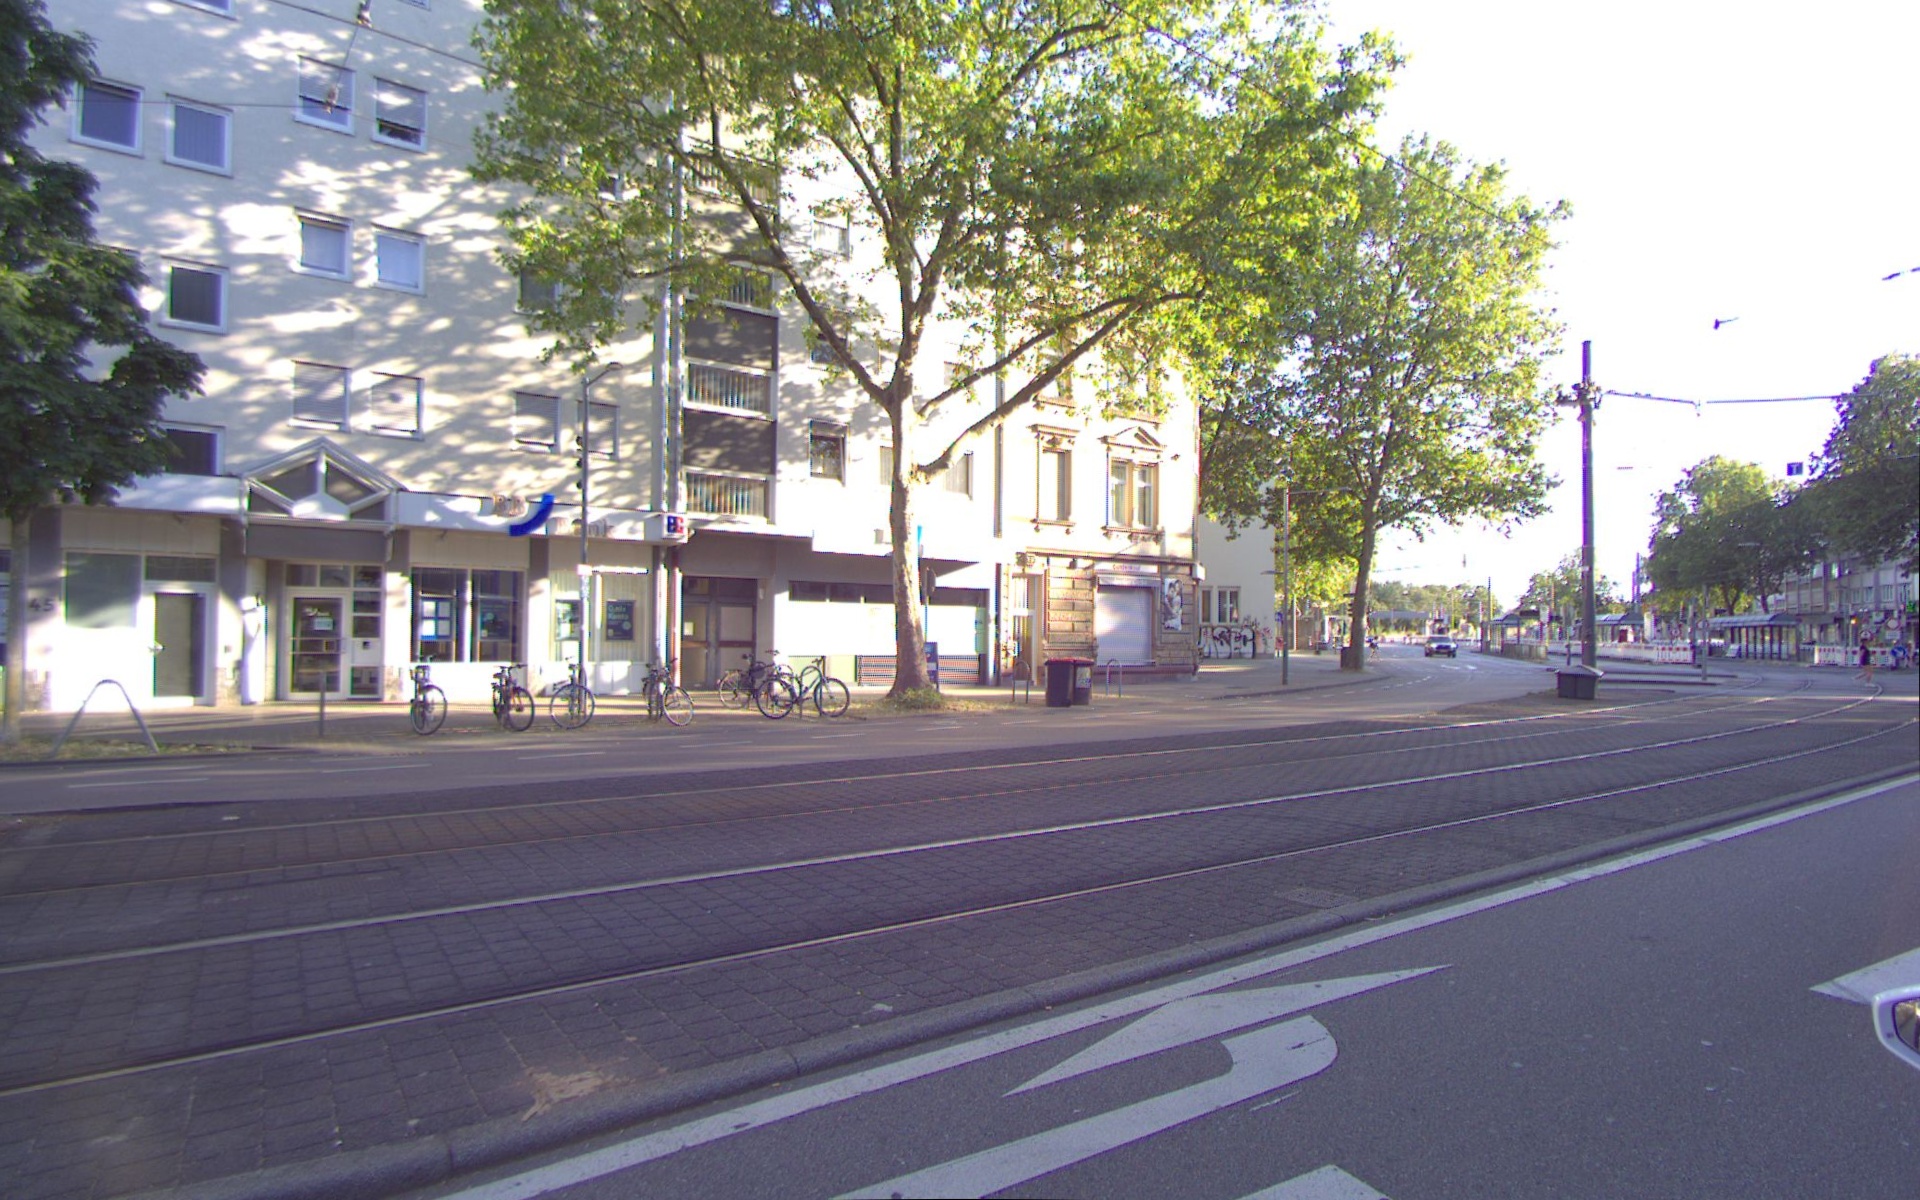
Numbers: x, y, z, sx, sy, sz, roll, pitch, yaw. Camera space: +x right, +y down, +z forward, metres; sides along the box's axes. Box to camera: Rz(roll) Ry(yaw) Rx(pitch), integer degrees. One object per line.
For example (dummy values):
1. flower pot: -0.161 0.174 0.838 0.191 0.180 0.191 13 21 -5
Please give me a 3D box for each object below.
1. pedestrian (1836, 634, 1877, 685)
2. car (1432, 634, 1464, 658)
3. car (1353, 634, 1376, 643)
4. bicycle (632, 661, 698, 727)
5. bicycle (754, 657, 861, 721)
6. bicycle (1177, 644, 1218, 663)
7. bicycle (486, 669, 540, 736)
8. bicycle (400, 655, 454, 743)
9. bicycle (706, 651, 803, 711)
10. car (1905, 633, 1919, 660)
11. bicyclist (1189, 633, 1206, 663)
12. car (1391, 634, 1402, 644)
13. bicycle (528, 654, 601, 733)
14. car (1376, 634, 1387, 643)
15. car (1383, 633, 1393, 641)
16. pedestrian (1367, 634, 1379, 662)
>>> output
1. pedestrian: 30.789 2.040 34.503 0.639 1.708 0.985 3 -2 -41
2. car: 34.739 3.276 71.569 1.962 1.661 3.997 0 -2 25
3. car: 78.235 7.420 194.279 3.919 1.661 1.792 0 -2 13
4. bicycle: -5.058 1.577 17.169 0.584 1.002 1.729 2 -1 -34
5. bicycle: -2.742 1.581 18.097 1.800 1.091 0.649 2 -2 -29
6. bicycle: 11.971 2.696 50.741 1.984 0.950 0.761 0 -2 11
7. bicycle: -6.931 1.557 15.533 0.467 0.900 1.729 2 -1 -34
8. bicycle: -7.832 1.410 14.745 0.506 1.153 1.729 2 -1 -34
9. bicycle: -4.078 1.585 19.972 1.777 1.132 0.617 2 -2 -29
10. car: 64.586 3.130 66.110 1.960 1.815 4.000 2 -1 20
11. bicyclist: 11.997 2.424 50.740 0.825 1.463 0.756 0 -2 11
12. car: 78.769 7.073 181.342 1.814 1.706 3.715 -2 -2 23
13. bicycle: -6.347 1.459 16.077 0.724 1.128 1.729 2 -1 -34
14. car: 79.449 7.239 189.324 1.814 1.706 3.716 0 -2 23
15. car: 89.566 7.790 210.274 1.814 1.706 3.716 0 -2 23
16. pedestrian: 25.295 2.918 61.503 0.645 1.678 0.444 0 -2 18
